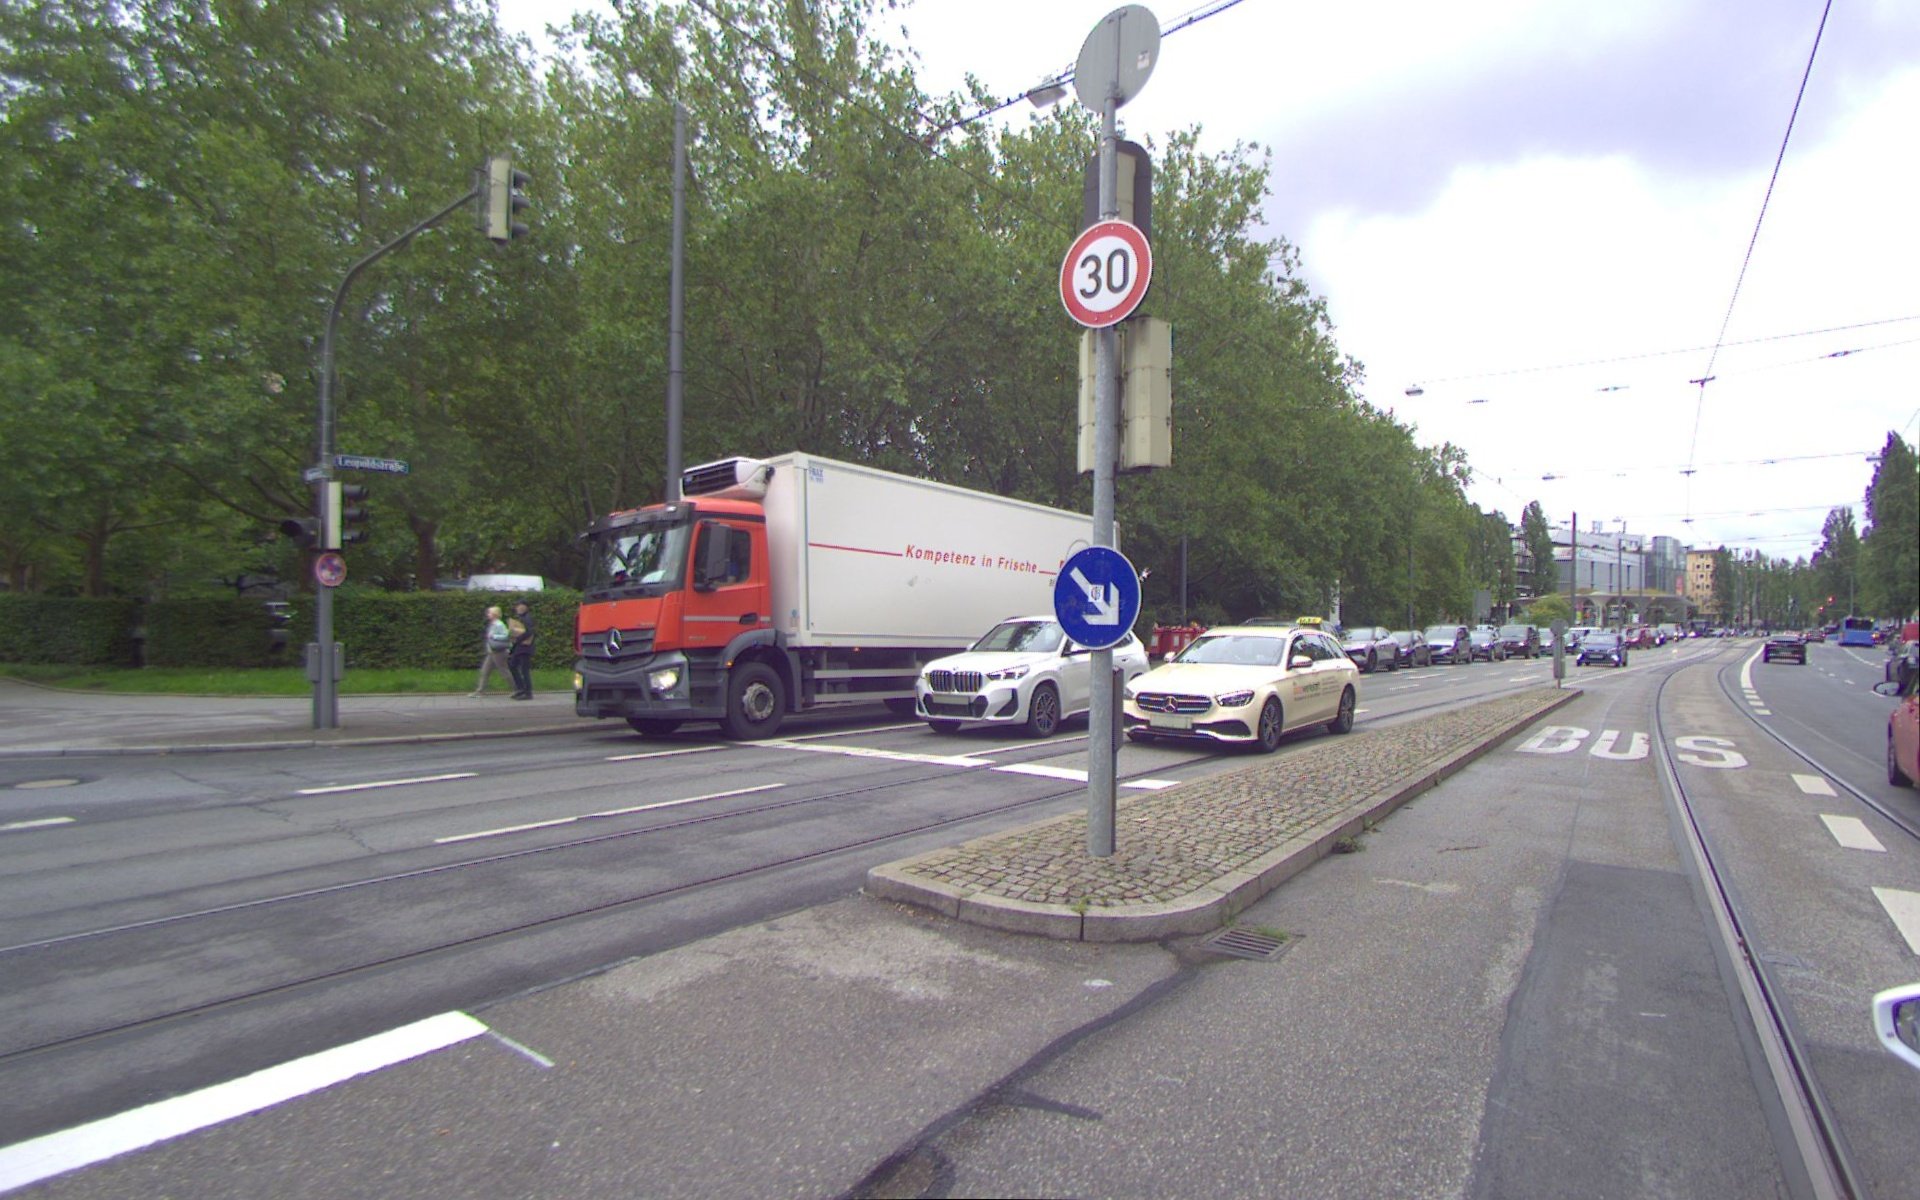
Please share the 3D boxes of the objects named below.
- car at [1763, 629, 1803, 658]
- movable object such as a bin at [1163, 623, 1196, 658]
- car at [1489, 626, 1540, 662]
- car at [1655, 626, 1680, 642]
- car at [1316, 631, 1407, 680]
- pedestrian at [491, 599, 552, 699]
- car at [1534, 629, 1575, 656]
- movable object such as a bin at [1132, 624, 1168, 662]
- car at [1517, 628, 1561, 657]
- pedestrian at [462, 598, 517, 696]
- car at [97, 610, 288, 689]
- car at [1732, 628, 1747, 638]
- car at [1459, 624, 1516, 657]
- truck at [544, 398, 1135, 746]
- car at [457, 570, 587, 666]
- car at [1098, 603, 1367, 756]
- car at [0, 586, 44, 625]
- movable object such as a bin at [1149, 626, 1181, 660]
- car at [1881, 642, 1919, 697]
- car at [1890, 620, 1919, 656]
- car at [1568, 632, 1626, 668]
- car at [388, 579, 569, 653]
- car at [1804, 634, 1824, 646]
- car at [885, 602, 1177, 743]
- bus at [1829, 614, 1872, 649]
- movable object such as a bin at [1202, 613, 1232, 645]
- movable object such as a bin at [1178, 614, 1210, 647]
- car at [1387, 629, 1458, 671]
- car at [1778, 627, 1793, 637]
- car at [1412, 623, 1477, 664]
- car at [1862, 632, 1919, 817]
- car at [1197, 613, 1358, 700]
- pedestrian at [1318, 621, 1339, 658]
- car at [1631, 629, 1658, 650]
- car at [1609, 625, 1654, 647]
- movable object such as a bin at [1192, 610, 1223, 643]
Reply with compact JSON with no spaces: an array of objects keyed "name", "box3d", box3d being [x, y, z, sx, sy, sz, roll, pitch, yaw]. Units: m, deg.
[{"name":"car","box3d":[46.961,2.478,57.396,1.715,1.569,4.557,0,-2,39]},{"name":"movable object such as a bin","box3d":[9.276,1.711,42.452,0.921,1.371,1.125,4,1,35]},{"name":"car","box3d":[32.592,2.585,58.957,1.778,2.017,5.017,-1,-2,39]},{"name":"car","box3d":[75.851,3.629,107.638,1.778,1.686,4.498,-2,-3,40]},{"name":"car","box3d":[15.017,2.016,37.399,1.778,1.664,4.977,-1,-2,39]},{"name":"pedestrian","box3d":[-7.611,0.832,17.433,0.673,1.685,0.661,0,-1,26]},{"name":"car","box3d":[41.005,2.927,69.255,1.778,1.812,4.499,-2,-3,39]},{"name":"movable object such as a bin","box3d":[7.583,1.707,40.030,0.921,1.371,1.079,7,3,35]},{"name":"car","box3d":[37.263,2.730,64.579,1.778,1.812,4.499,-2,-3,39]},{"name":"pedestrian","box3d":[-8.312,0.818,17.769,0.673,1.685,0.554,0,-1,26]},{"name":"car","box3d":[-19.413,1.186,25.594,1.742,1.787,3.524,0,1,15]},{"name":"car","box3d":[123.803,5.283,159.563,1.759,1.505,3.983,0,-1,39]},{"name":"car","box3d":[27.557,2.092,52.379,1.778,1.656,4.568,-1,-2,39]},{"name":"truck","box3d":[-0.920,-0.120,17.120,2.705,4.032,11.672,-1,-3,37]},{"name":"car","box3d":[-11.060,0.569,25.743,1.964,2.039,4.624,0,-6,-10]},{"name":"car","box3d":[3.841,0.934,13.441,1.799,1.660,4.872,0,-2,37]},{"name":"car","box3d":[-66.442,0.351,68.067,2.073,2.623,6.068,-1,-3,31]},{"name":"movable object such as a bin","box3d":[8.422,1.756,41.275,0.921,1.371,1.010,1,-1,35]},{"name":"car","box3d":[28.753,2.049,29.865,1.759,1.505,3.983,0,-1,39]},{"name":"car","box3d":[74.104,2.926,78.298,1.969,2.609,4.658,1,1,39]},{"name":"car","box3d":[29.215,2.262,46.032,1.778,1.542,4.336,-1,-3,39]},{"name":"car","box3d":[-17.926,0.526,37.663,1.971,2.569,5.833,1,1,41]},{"name":"car","box3d":[107.146,4.998,126.073,1.759,1.505,3.983,0,-1,39]},{"name":"car","box3d":[1.235,0.953,14.680,1.891,1.705,4.872,0,-2,37]},{"name":"bus","box3d":[96.011,3.298,108.405,2.871,3.442,10.756,1,1,39]},{"name":"movable object such as a bin","box3d":[11.634,1.298,45.442,0.921,1.371,1.079,3,1,35]},{"name":"movable object such as a bin","box3d":[10.138,1.310,43.523,0.921,1.371,1.274,2,0,35]},{"name":"car","box3d":[19.795,2.108,42.934,1.778,1.689,4.336,-1,-2,39]},{"name":"car","box3d":[145.476,5.662,176.971,1.784,1.616,3.979,1,-4,43]},{"name":"car","box3d":[22.905,2.031,47.417,1.778,1.803,4.453,-1,-2,39]},{"name":"car","box3d":[9.247,1.046,8.820,1.607,1.459,3.364,2,0,36]},{"name":"car","box3d":[7.190,1.200,22.400,1.800,1.705,4.870,0,-2,39]},{"name":"pedestrian","box3d":[18.604,1.986,50.687,0.812,1.813,0.658,2,-1,-42]},{"name":"car","box3d":[62.147,3.599,91.153,1.777,1.812,4.501,-2,-3,37]},{"name":"car","box3d":[56.343,3.009,84.271,4.478,1.812,1.786,1,-3,-38]},{"name":"movable object such as a bin","box3d":[10.965,1.183,44.525,0.921,1.371,1.079,6,2,35]}]
